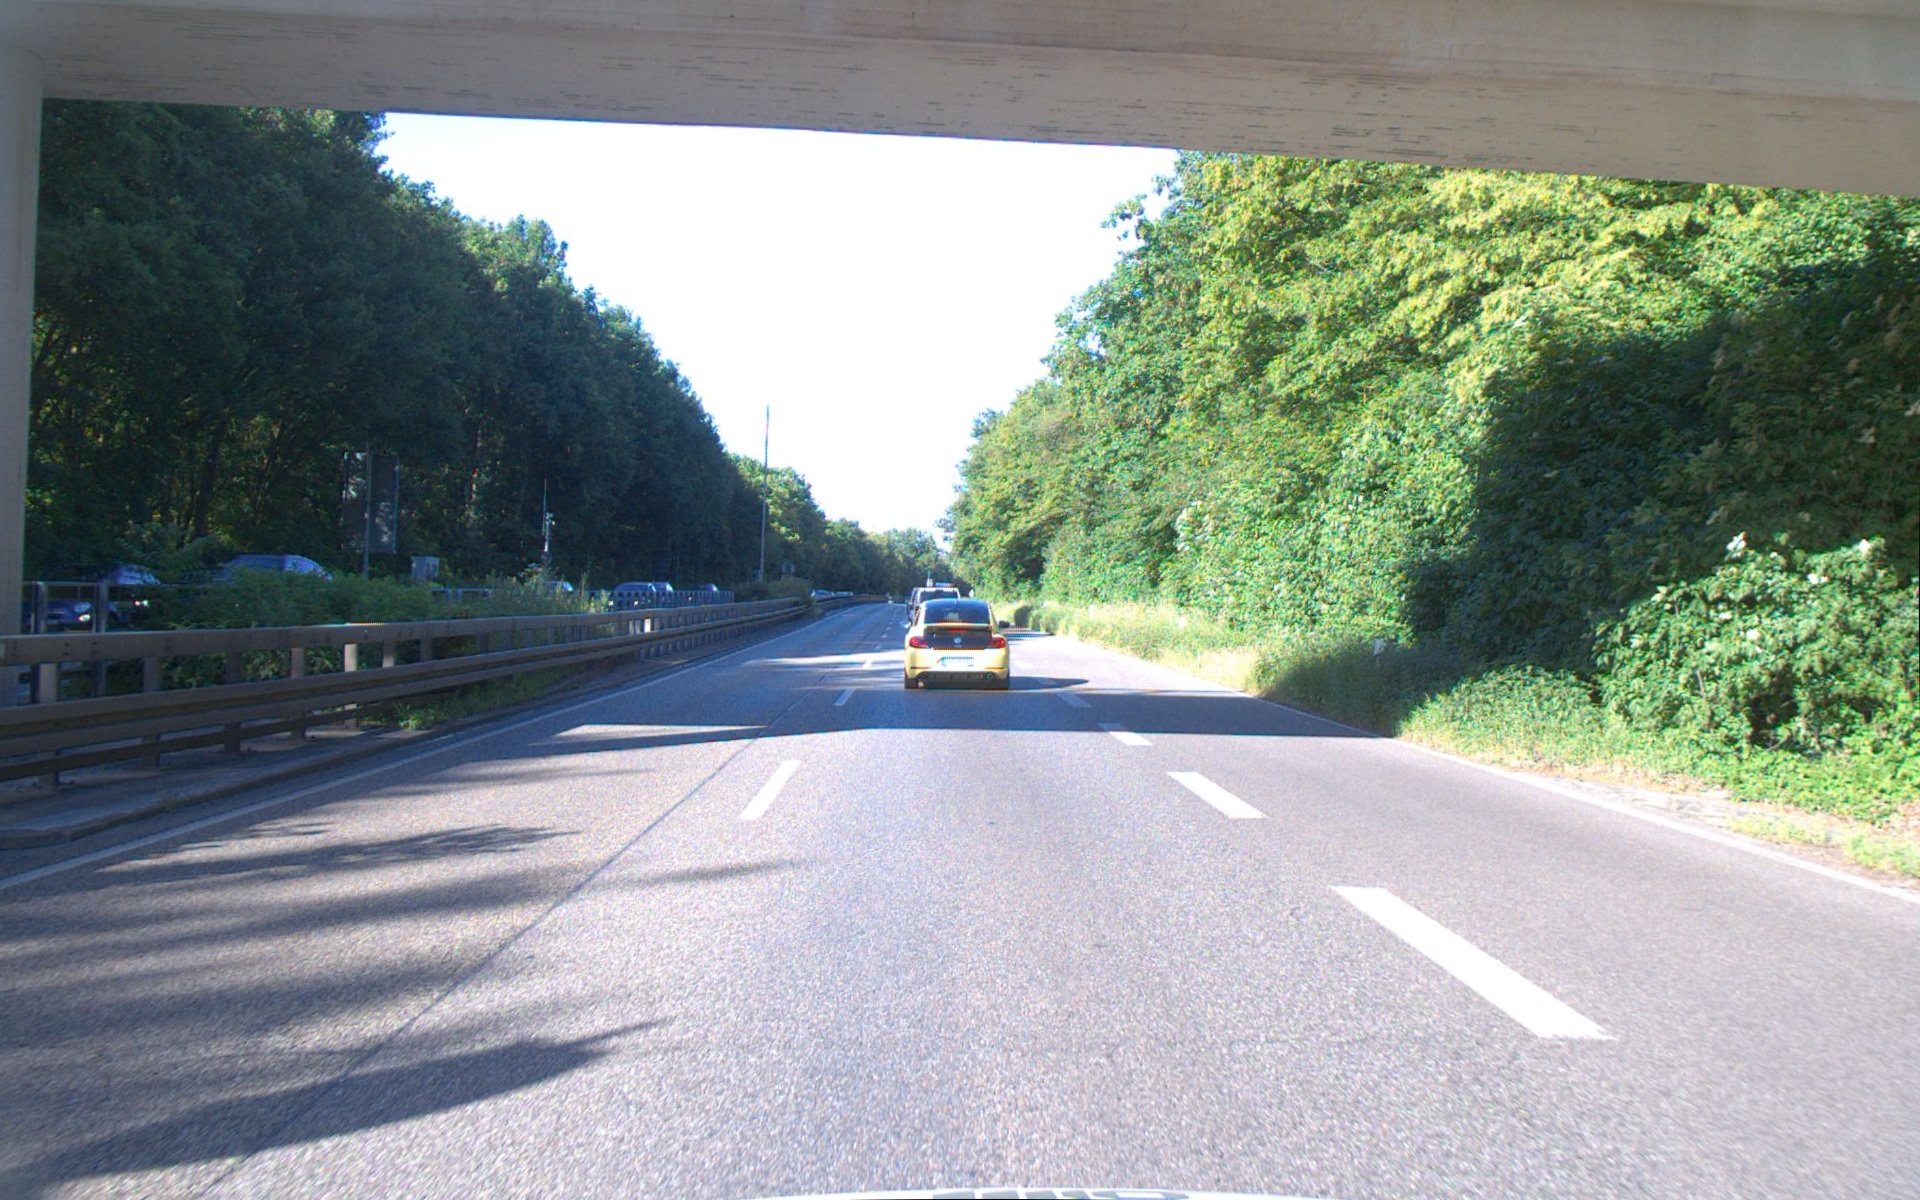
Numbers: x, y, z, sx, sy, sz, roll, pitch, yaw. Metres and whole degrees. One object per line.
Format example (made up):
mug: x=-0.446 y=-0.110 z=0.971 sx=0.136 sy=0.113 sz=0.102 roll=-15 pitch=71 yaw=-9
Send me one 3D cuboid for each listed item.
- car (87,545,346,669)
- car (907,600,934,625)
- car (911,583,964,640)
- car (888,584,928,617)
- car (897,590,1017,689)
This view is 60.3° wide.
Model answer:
car: x=-11.502 y=0.091 z=25.996 sx=1.953 sy=1.716 sz=4.739 roll=1 pitch=0 yaw=-1
car: x=-2.937 y=0.920 z=123.528 sx=1.953 sy=1.780 sz=4.371 roll=1 pitch=0 yaw=-2
car: x=-0.786 y=0.377 z=56.246 sx=1.706 sy=1.862 sz=3.421 roll=1 pitch=0 yaw=-2
car: x=-2.552 y=0.040 z=81.259 sx=1.900 sy=1.572 sz=3.421 roll=1 pitch=0 yaw=-2
car: x=0.006 y=0.640 z=28.273 sx=1.899 sy=1.535 sz=3.423 roll=1 pitch=0 yaw=2
